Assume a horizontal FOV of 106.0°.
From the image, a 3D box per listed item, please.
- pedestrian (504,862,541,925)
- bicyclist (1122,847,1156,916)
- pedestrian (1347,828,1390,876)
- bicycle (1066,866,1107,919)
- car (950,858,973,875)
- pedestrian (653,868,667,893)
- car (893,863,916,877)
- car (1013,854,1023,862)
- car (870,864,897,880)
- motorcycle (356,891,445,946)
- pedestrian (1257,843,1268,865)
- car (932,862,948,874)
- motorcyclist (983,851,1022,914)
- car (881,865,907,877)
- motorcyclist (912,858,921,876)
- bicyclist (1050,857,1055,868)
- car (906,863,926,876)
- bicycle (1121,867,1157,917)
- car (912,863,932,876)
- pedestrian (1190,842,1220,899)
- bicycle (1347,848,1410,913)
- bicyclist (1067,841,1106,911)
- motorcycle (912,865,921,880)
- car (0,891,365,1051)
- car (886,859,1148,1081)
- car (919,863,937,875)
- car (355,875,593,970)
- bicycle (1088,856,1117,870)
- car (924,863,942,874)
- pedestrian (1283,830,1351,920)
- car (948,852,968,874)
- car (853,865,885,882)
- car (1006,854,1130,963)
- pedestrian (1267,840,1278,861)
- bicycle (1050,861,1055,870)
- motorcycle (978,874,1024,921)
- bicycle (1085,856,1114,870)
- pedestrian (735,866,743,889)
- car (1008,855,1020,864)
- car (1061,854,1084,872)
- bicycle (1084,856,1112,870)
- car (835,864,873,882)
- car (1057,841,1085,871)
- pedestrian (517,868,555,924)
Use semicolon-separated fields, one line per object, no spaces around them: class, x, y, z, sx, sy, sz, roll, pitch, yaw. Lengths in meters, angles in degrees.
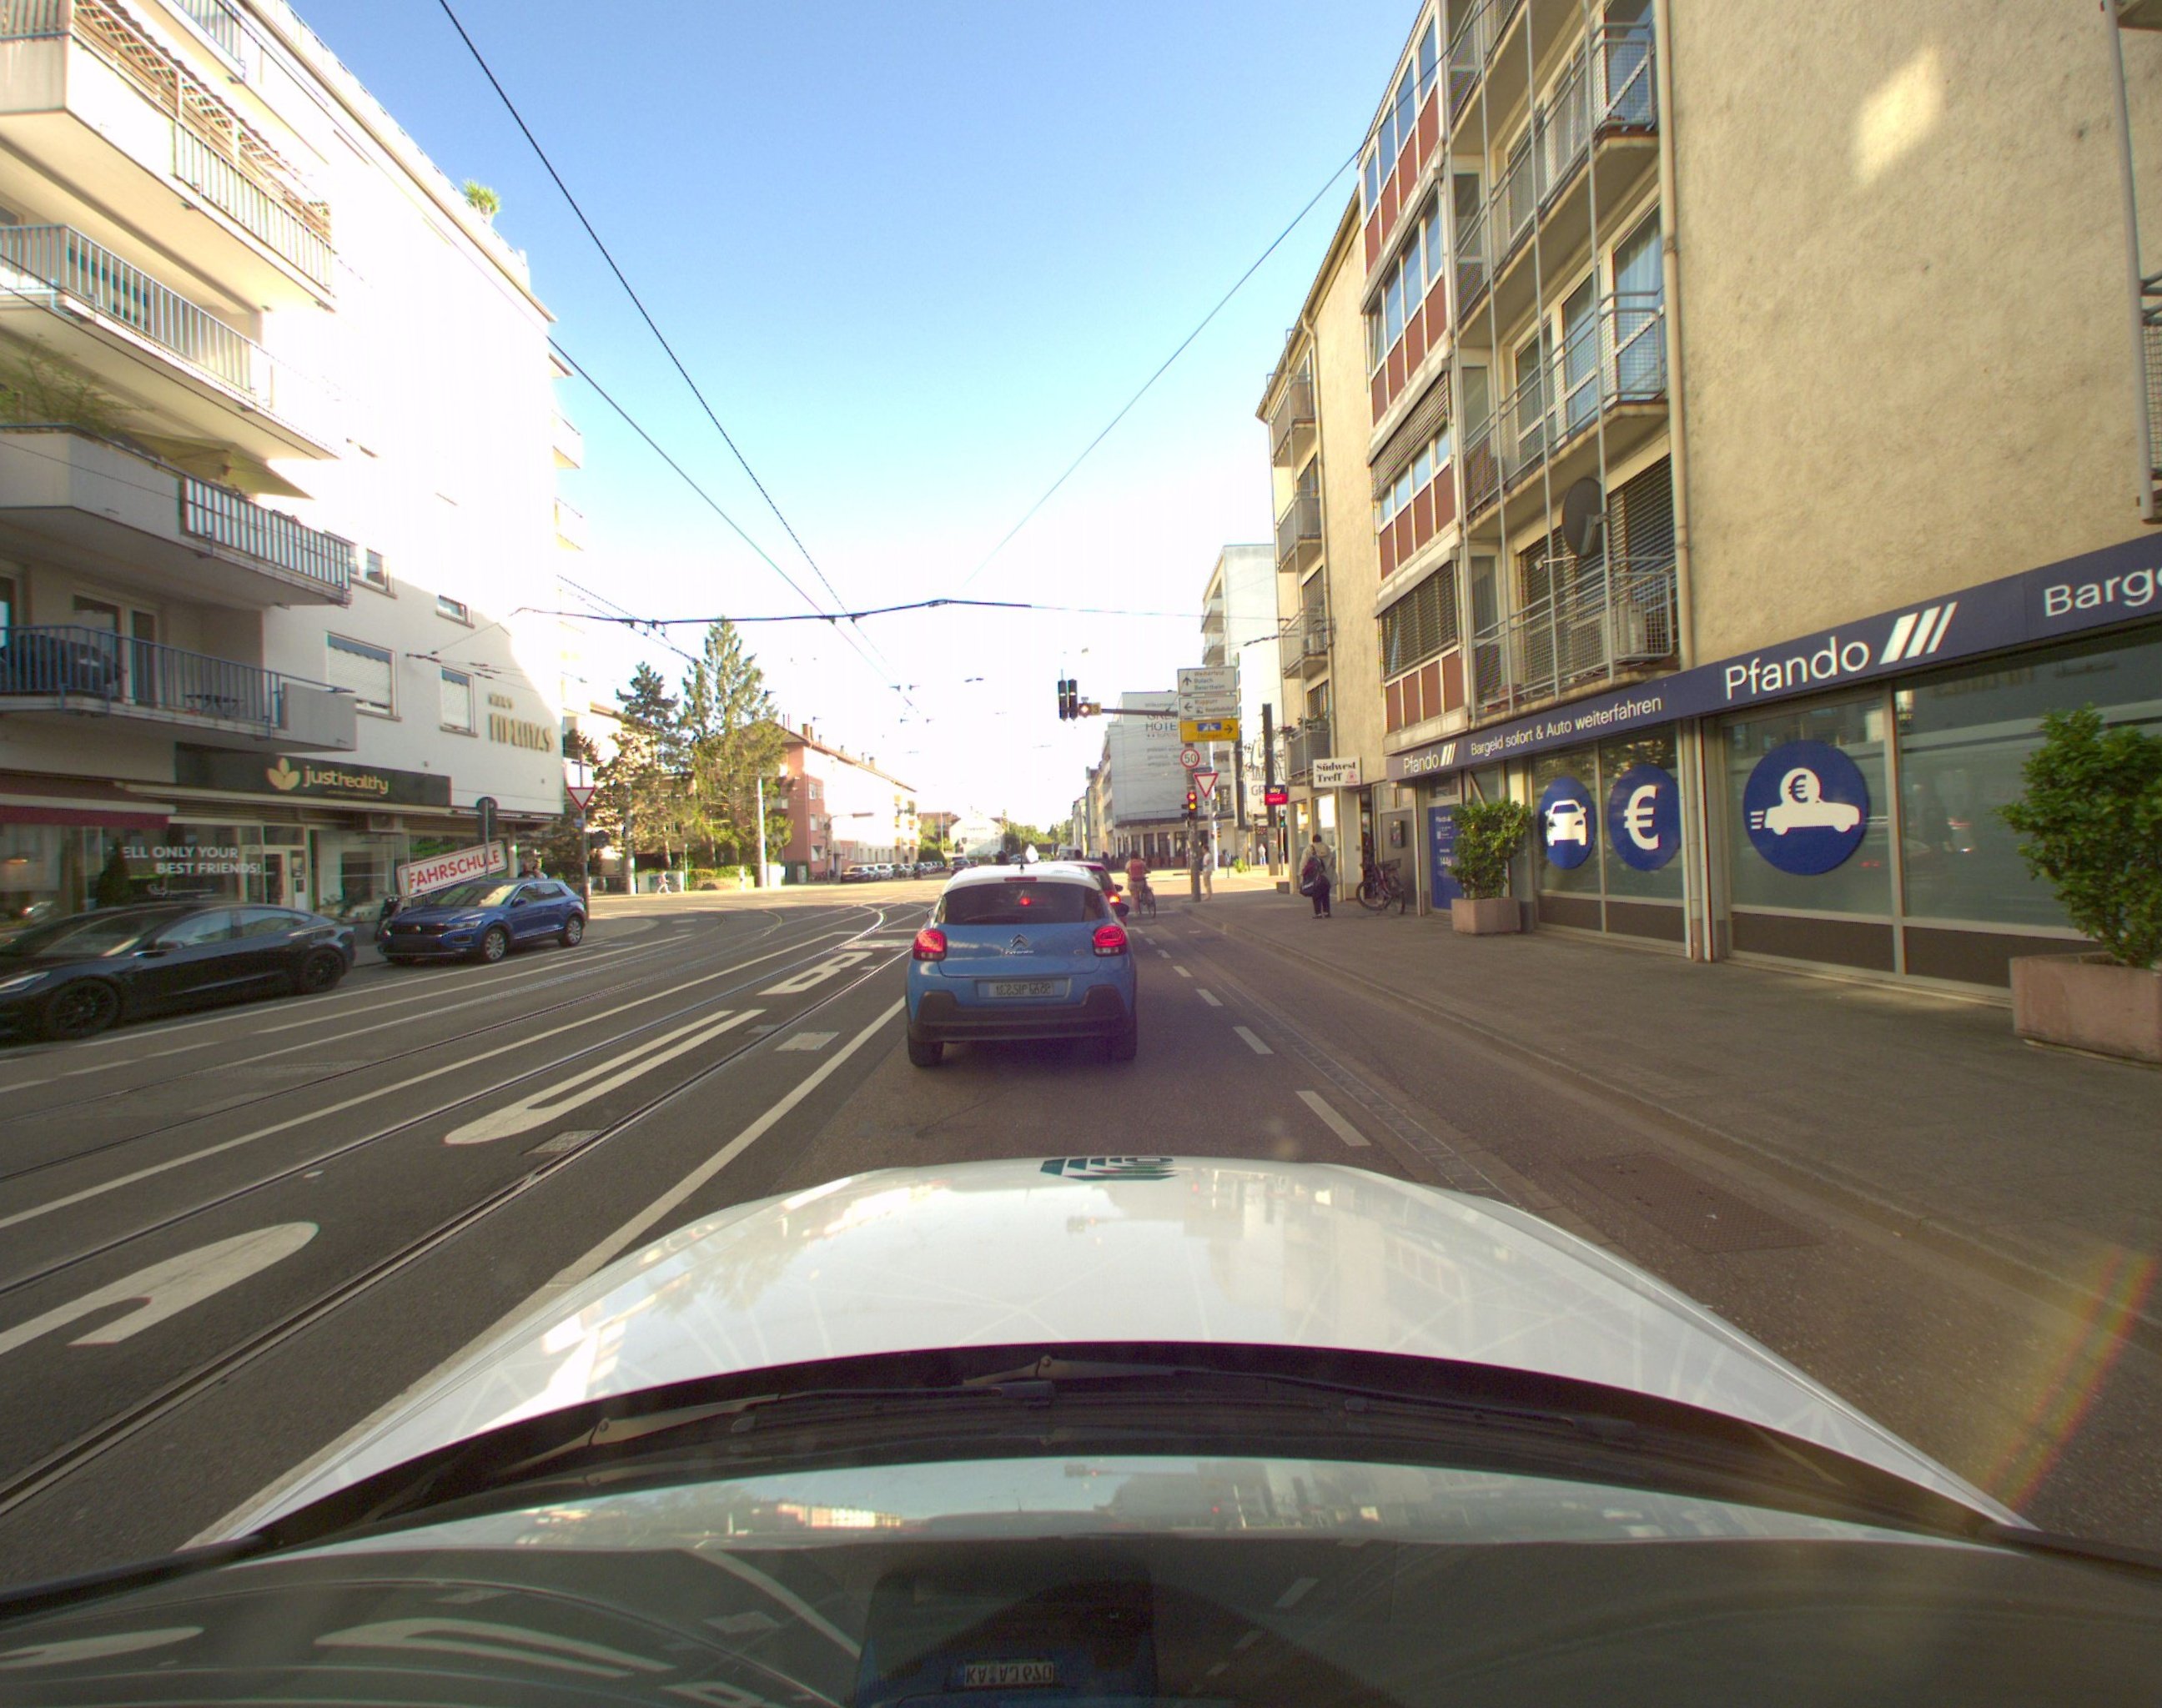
pedestrian;-17.247;1.207;25.142;0.568;1.900;0.742;-2;-3;16
bicyclist;1.464;0.673;20.417;0.807;1.692;0.937;0;-1;6
pedestrian;6.788;-0.044;19.206;0.627;1.087;0.672;-3;1;-35
bicycle;0.140;0.916;20.087;0.937;1.223;2.094;0;-1;1
car;-11.237;1.169;76.855;1.775;1.486;3.824;-3;0;-3
pedestrian;-29.103;1.831;56.325;0.785;1.722;0.699;0;-1;-22
car;-20.060;1.784;92.721;1.865;1.576;3.995;0;-1;-3
car;-14.501;0.889;188.440;2.068;1.762;5.034;0;0;-1
car;-19.414;1.715;80.109;1.737;1.526;4.227;0;-1;-1
motorcycle;-15.811;1.476;18.986;0.605;1.134;1.795;0;-1;-2
pedestrian;13.754;-0.003;61.767;0.604;1.608;0.673;-1;-1;29
car;-20.756;2.046;119.657;1.865;1.576;3.995;0;-1;-3
motorcyclist;-1.912;0.687;19.949;0.852;1.488;0.729;0;-1;1
car;-19.867;1.767;86.785;1.942;1.239;4.279;0;0;-2
motorcyclist;-13.655;1.098;67.646;0.694;1.497;0.681;-2;-2;-12
bicyclist;-5.168;1.558;148.706;0.787;2.024;0.987;0;-1;3
car;-20.005;1.873;98.783;1.865;1.576;3.995;0;-1;-3
bicycle;1.476;0.931;20.527;0.807;1.181;2.068;0;-1;6
car;-20.168;1.911;103.357;1.865;1.576;3.995;0;-1;-3
pedestrian;3.703;0.482;24.222;0.534;1.623;0.737;-7;-3;23
bicycle;5.726;0.491;15.753;0.495;1.161;1.776;-2;-1;-1
bicyclist;0.135;0.539;20.112;0.937;1.673;1.079;0;-1;0
motorcycle;-13.605;1.548;67.453;0.712;1.220;1.957;-2;-2;-12
car;-12.001;1.303;10.417;1.764;1.475;4.443;0;0;-1
car;-0.382;0.789;7.317;1.730;1.452;3.663;-1;0;1
car;-20.327;1.954;108.608;1.865;1.576;3.995;0;-1;-3
car;-11.859;1.244;16.336;1.765;1.503;4.233;0;1;-4
bicycle;1.766;0.741;65.922;2.246;1.001;0.855;-4;0;-4
car;-20.577;1.994;113.376;1.865;1.576;3.995;0;-1;-3
pedestrian;4.472;0.387;15.472;0.883;1.592;0.809;-5;1;-7
car;-18.054;1.264;119.701;2.411;3.142;3.487;0;-1;-1
car;-19.433;1.775;74.884;1.897;1.436;4.102;0;0;0
car;-0.275;0.778;13.585;1.780;1.521;3.758;0;0;-3
pedestrian;15.054;-0.280;64.054;0.604;1.608;0.673;-1;-1;44
bicycle;-5.165;2.040;148.698;0.787;1.670;2.231;0;-1;3
motorcycle;-1.911;1.040;19.781;0.852;1.047;1.943;0;-1;2
bicycle;1.537;0.745;67.296;2.246;1.001;0.855;-4;0;-4
pedestrian;-24.251;1.673;57.729;0.519;1.568;0.568;0;-1;-26
car;-14.009;1.206;170.541;2.212;1.932;4.946;0;-1;-1
car;-0.753;0.775;68.025;1.654;1.431;3.882;0;-1;-4
bicycle;1.395;0.761;68.412;2.246;1.001;0.855;-4;0;-4
car;-19.371;1.627;69.672;2.149;1.432;4.435;0;-2;-3
car;-0.967;0.191;73.017;2.260;2.482;5.002;-1;0;-3
pedestrian;-18.041;1.388;26.969;0.732;1.792;0.663;-2;0;5
